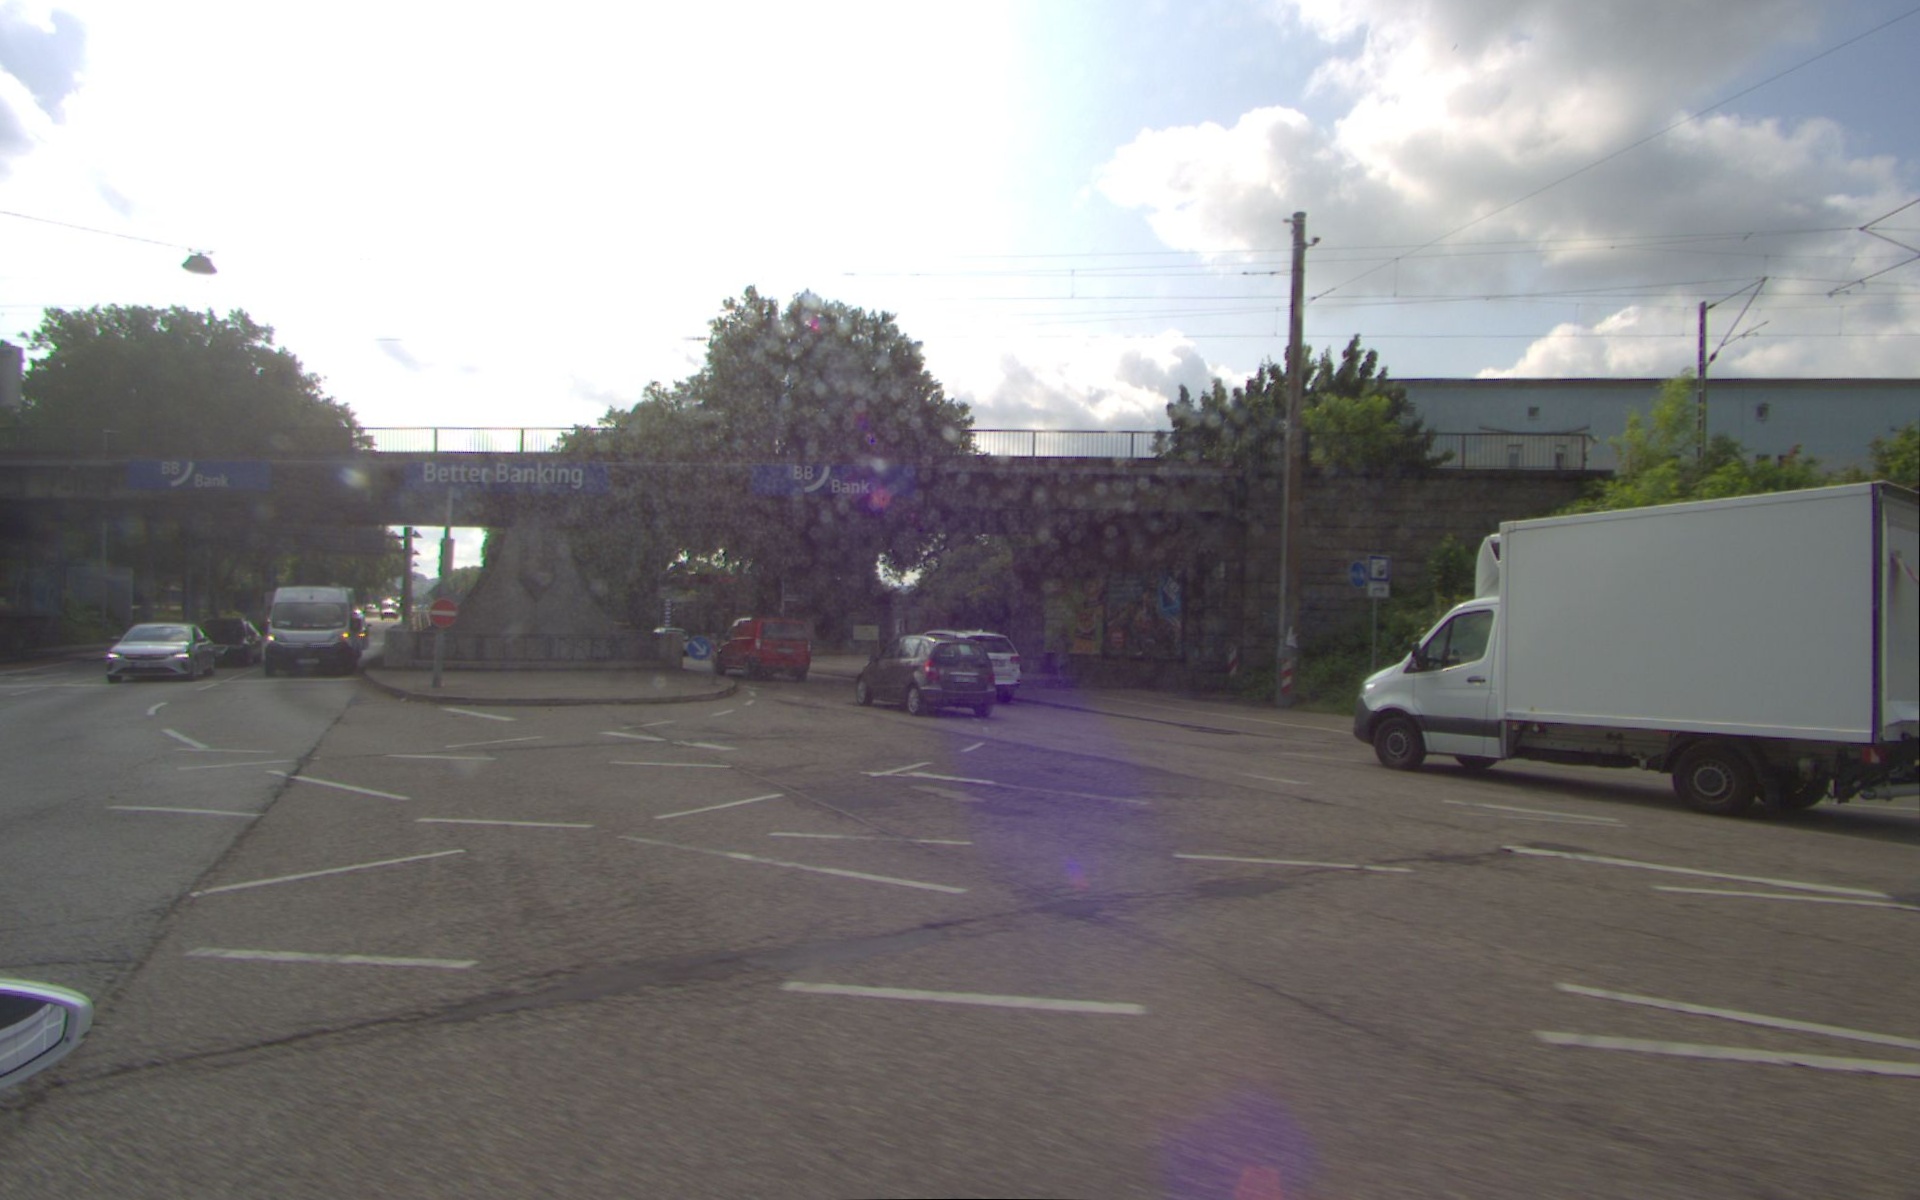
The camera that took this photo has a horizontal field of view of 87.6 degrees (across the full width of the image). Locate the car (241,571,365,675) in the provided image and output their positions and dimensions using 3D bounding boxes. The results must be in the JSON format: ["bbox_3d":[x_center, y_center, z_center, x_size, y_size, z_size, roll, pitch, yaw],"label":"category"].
[{"bbox_3d":[-18.944,0.709,29.158,2.230,2.559,5.604,-6,0,-28],"label":"car"}]

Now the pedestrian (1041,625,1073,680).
[{"bbox_3d":[3.099,1.675,32.017,0.601,1.672,0.688,-4,0,-33],"label":"pedestrian"}]

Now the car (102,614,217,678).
[{"bbox_3d":[-20.555,1.218,25.867,1.683,1.495,3.983,0,-3,-30],"label":"car"}]

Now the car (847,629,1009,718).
[{"bbox_3d":[-0.757,1.485,20.945,1.773,1.628,3.779,4,-3,-30],"label":"car"}]

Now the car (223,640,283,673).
[{"bbox_3d":[-39.869,3.187,56.589,1.968,1.628,3.987,-4,0,-25],"label":"car"}]

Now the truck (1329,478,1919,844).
[{"bbox_3d":[7.710,0.645,11.849,2.422,3.160,5.994,4,-3,-31],"label":"truck"}]

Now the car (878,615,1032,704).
[{"bbox_3d":[-0.240,1.474,25.977,1.974,1.924,4.486,6,-3,-29],"label":"car"}]

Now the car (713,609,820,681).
[{"bbox_3d":[-6.249,1.383,31.886,1.934,2.042,4.654,4,-2,-28],"label":"car"}]

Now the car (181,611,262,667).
[{"bbox_3d":[-24.102,1.309,32.809,1.746,1.603,4.639,-4,-1,-33],"label":"car"}]

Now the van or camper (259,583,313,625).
[{"bbox_3d":[-52.198,0.319,77.678,2.624,3.122,5.724,-1,1,-26],"label":"van or camper"}]
